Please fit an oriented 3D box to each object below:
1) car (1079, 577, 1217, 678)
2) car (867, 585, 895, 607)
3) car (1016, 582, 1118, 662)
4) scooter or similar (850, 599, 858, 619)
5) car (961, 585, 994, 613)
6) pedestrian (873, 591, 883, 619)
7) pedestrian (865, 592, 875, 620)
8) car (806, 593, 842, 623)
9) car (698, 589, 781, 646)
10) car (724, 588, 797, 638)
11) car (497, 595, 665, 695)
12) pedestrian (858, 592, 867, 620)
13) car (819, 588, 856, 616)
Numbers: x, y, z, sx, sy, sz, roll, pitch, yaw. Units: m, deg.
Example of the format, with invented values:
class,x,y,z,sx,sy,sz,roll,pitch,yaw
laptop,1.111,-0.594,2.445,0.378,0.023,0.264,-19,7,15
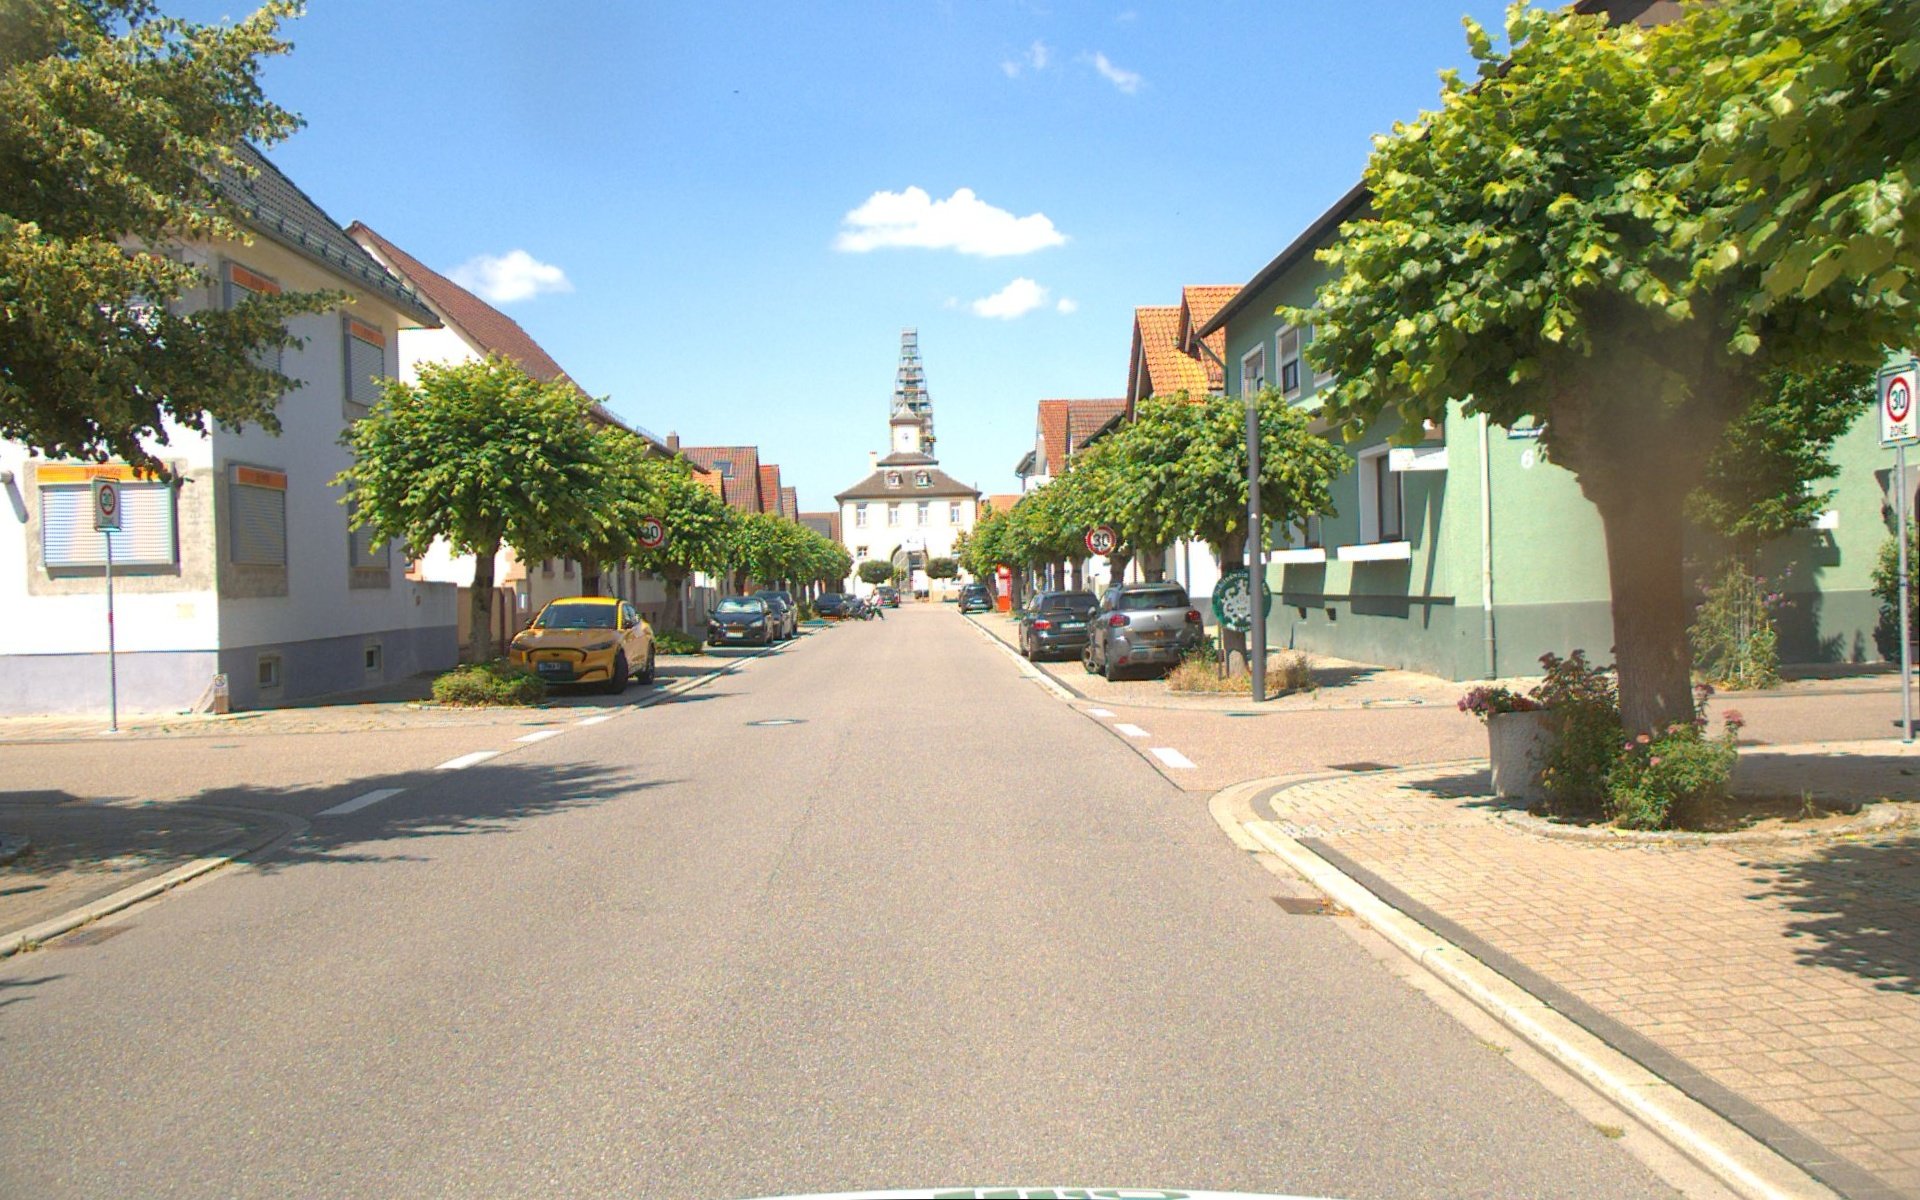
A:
class,x,y,z,sx,sy,sz,roll,pitch,yaw
car,3.269,0.447,29.438,1.801,1.636,3.998,-1,0,-3
car,-6.048,-0.284,126.652,1.955,1.639,4.500,0,0,-5
car,2.332,0.450,37.078,1.800,1.582,4.312,-3,0,-2
scooter or similar,-5.453,0.450,85.272,0.323,1.020,0.240,-2,0,36
car,1.050,-0.084,99.747,1.800,1.582,4.313,-3,0,-1
pedestrian,-4.207,0.248,84.683,0.351,1.427,0.319,-2,0,36
pedestrian,-4.631,0.306,85.505,0.351,1.427,0.319,-2,0,36
car,-7.699,0.438,93.931,1.722,1.582,4.019,-2,0,-1
car,-6.737,0.506,50.943,1.953,1.639,4.689,0,1,0
car,-6.776,0.457,56.675,1.953,1.639,4.688,0,0,0
car,-6.654,0.734,29.544,1.953,1.639,4.688,0,0,0
pedestrian,-5.029,0.303,85.282,0.351,1.427,0.319,-2,0,36
car,-7.342,0.153,99.685,1.953,1.639,3.854,0,0,0
